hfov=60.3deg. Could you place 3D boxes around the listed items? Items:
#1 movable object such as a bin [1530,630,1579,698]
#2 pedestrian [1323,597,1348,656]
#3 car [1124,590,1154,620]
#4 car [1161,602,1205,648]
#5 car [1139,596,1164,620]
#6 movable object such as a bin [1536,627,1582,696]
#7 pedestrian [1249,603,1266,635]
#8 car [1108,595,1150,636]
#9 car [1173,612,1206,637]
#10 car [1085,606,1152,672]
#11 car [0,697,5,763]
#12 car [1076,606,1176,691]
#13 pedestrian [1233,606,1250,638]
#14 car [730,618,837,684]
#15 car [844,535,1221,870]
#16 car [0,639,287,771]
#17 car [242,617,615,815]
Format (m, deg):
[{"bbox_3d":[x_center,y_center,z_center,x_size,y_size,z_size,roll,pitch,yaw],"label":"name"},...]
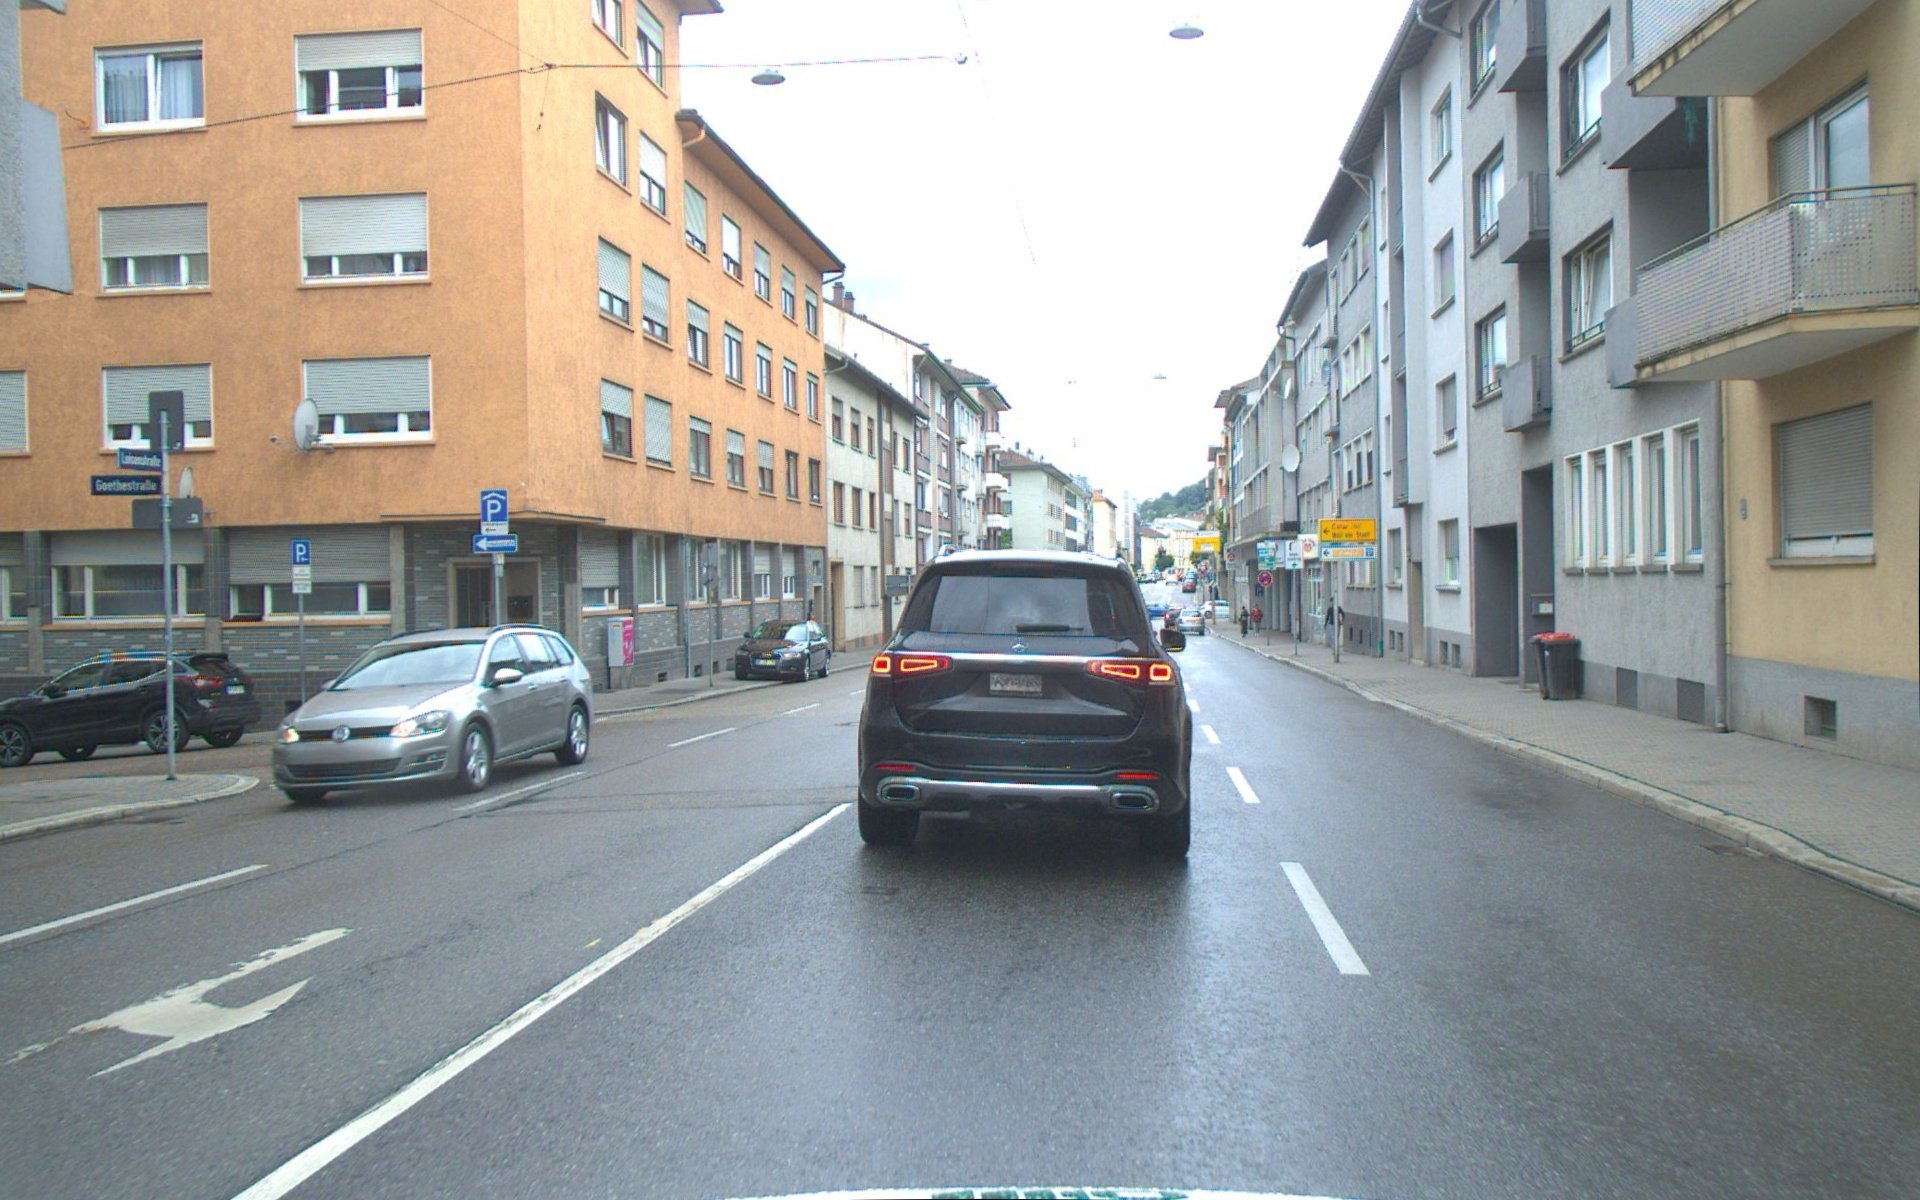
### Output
[{"bbox_3d":[9.080,0.968,25.284,0.550,0.979,0.475,-4,-1,9],"label":"movable object such as a bin"},{"bbox_3d":[11.691,0.828,51.529,0.641,1.782,0.742,-3,-1,11],"label":"pedestrian"},{"bbox_3d":[12.614,0.323,116.284,1.951,2.049,4.003,0,0,9],"label":"car"},{"bbox_3d":[10.404,1.118,76.934,1.951,2.049,4.003,0,0,9],"label":"car"},{"bbox_3d":[16.680,0.665,144.001,1.951,2.049,4.003,0,0,9],"label":"car"},{"bbox_3d":[8.964,0.919,24.758,0.463,0.979,0.565,-4,-1,8],"label":"movable object such as a bin"},{"bbox_3d":[15.109,0.948,83.976,0.803,1.592,0.900,0,0,9],"label":"pedestrian"},{"bbox_3d":[8.652,0.768,84.488,1.951,2.049,4.003,0,0,9],"label":"car"},{"bbox_3d":[13.414,1.409,96.708,1.698,1.412,4.585,0,0,5],"label":"car"},{"bbox_3d":[5.254,1.247,54.429,1.951,2.049,4.003,0,0,9],"label":"car"},{"bbox_3d":[-19.041,1.764,27.302,5.233,2.501,1.983,-5,-1,1],"label":"car"},{"bbox_3d":[3.293,0.929,33.439,1.853,1.537,4.176,1,0,4],"label":"car"},{"bbox_3d":[14.311,1.123,84.122,0.803,1.592,0.900,0,0,9],"label":"pedestrian"},{"bbox_3d":[-4.349,1.230,41.371,1.851,1.484,4.552,0,0,5],"label":"car"},{"bbox_3d":[0.591,0.526,11.237,2.032,1.796,4.614,0,0,5],"label":"car"},{"bbox_3d":[-13.287,1.674,26.727,3.903,1.680,1.932,-5,0,6],"label":"car"},{"bbox_3d":[-4.907,0.994,15.987,1.788,1.441,4.298,-5,0,5],"label":"car"}]
